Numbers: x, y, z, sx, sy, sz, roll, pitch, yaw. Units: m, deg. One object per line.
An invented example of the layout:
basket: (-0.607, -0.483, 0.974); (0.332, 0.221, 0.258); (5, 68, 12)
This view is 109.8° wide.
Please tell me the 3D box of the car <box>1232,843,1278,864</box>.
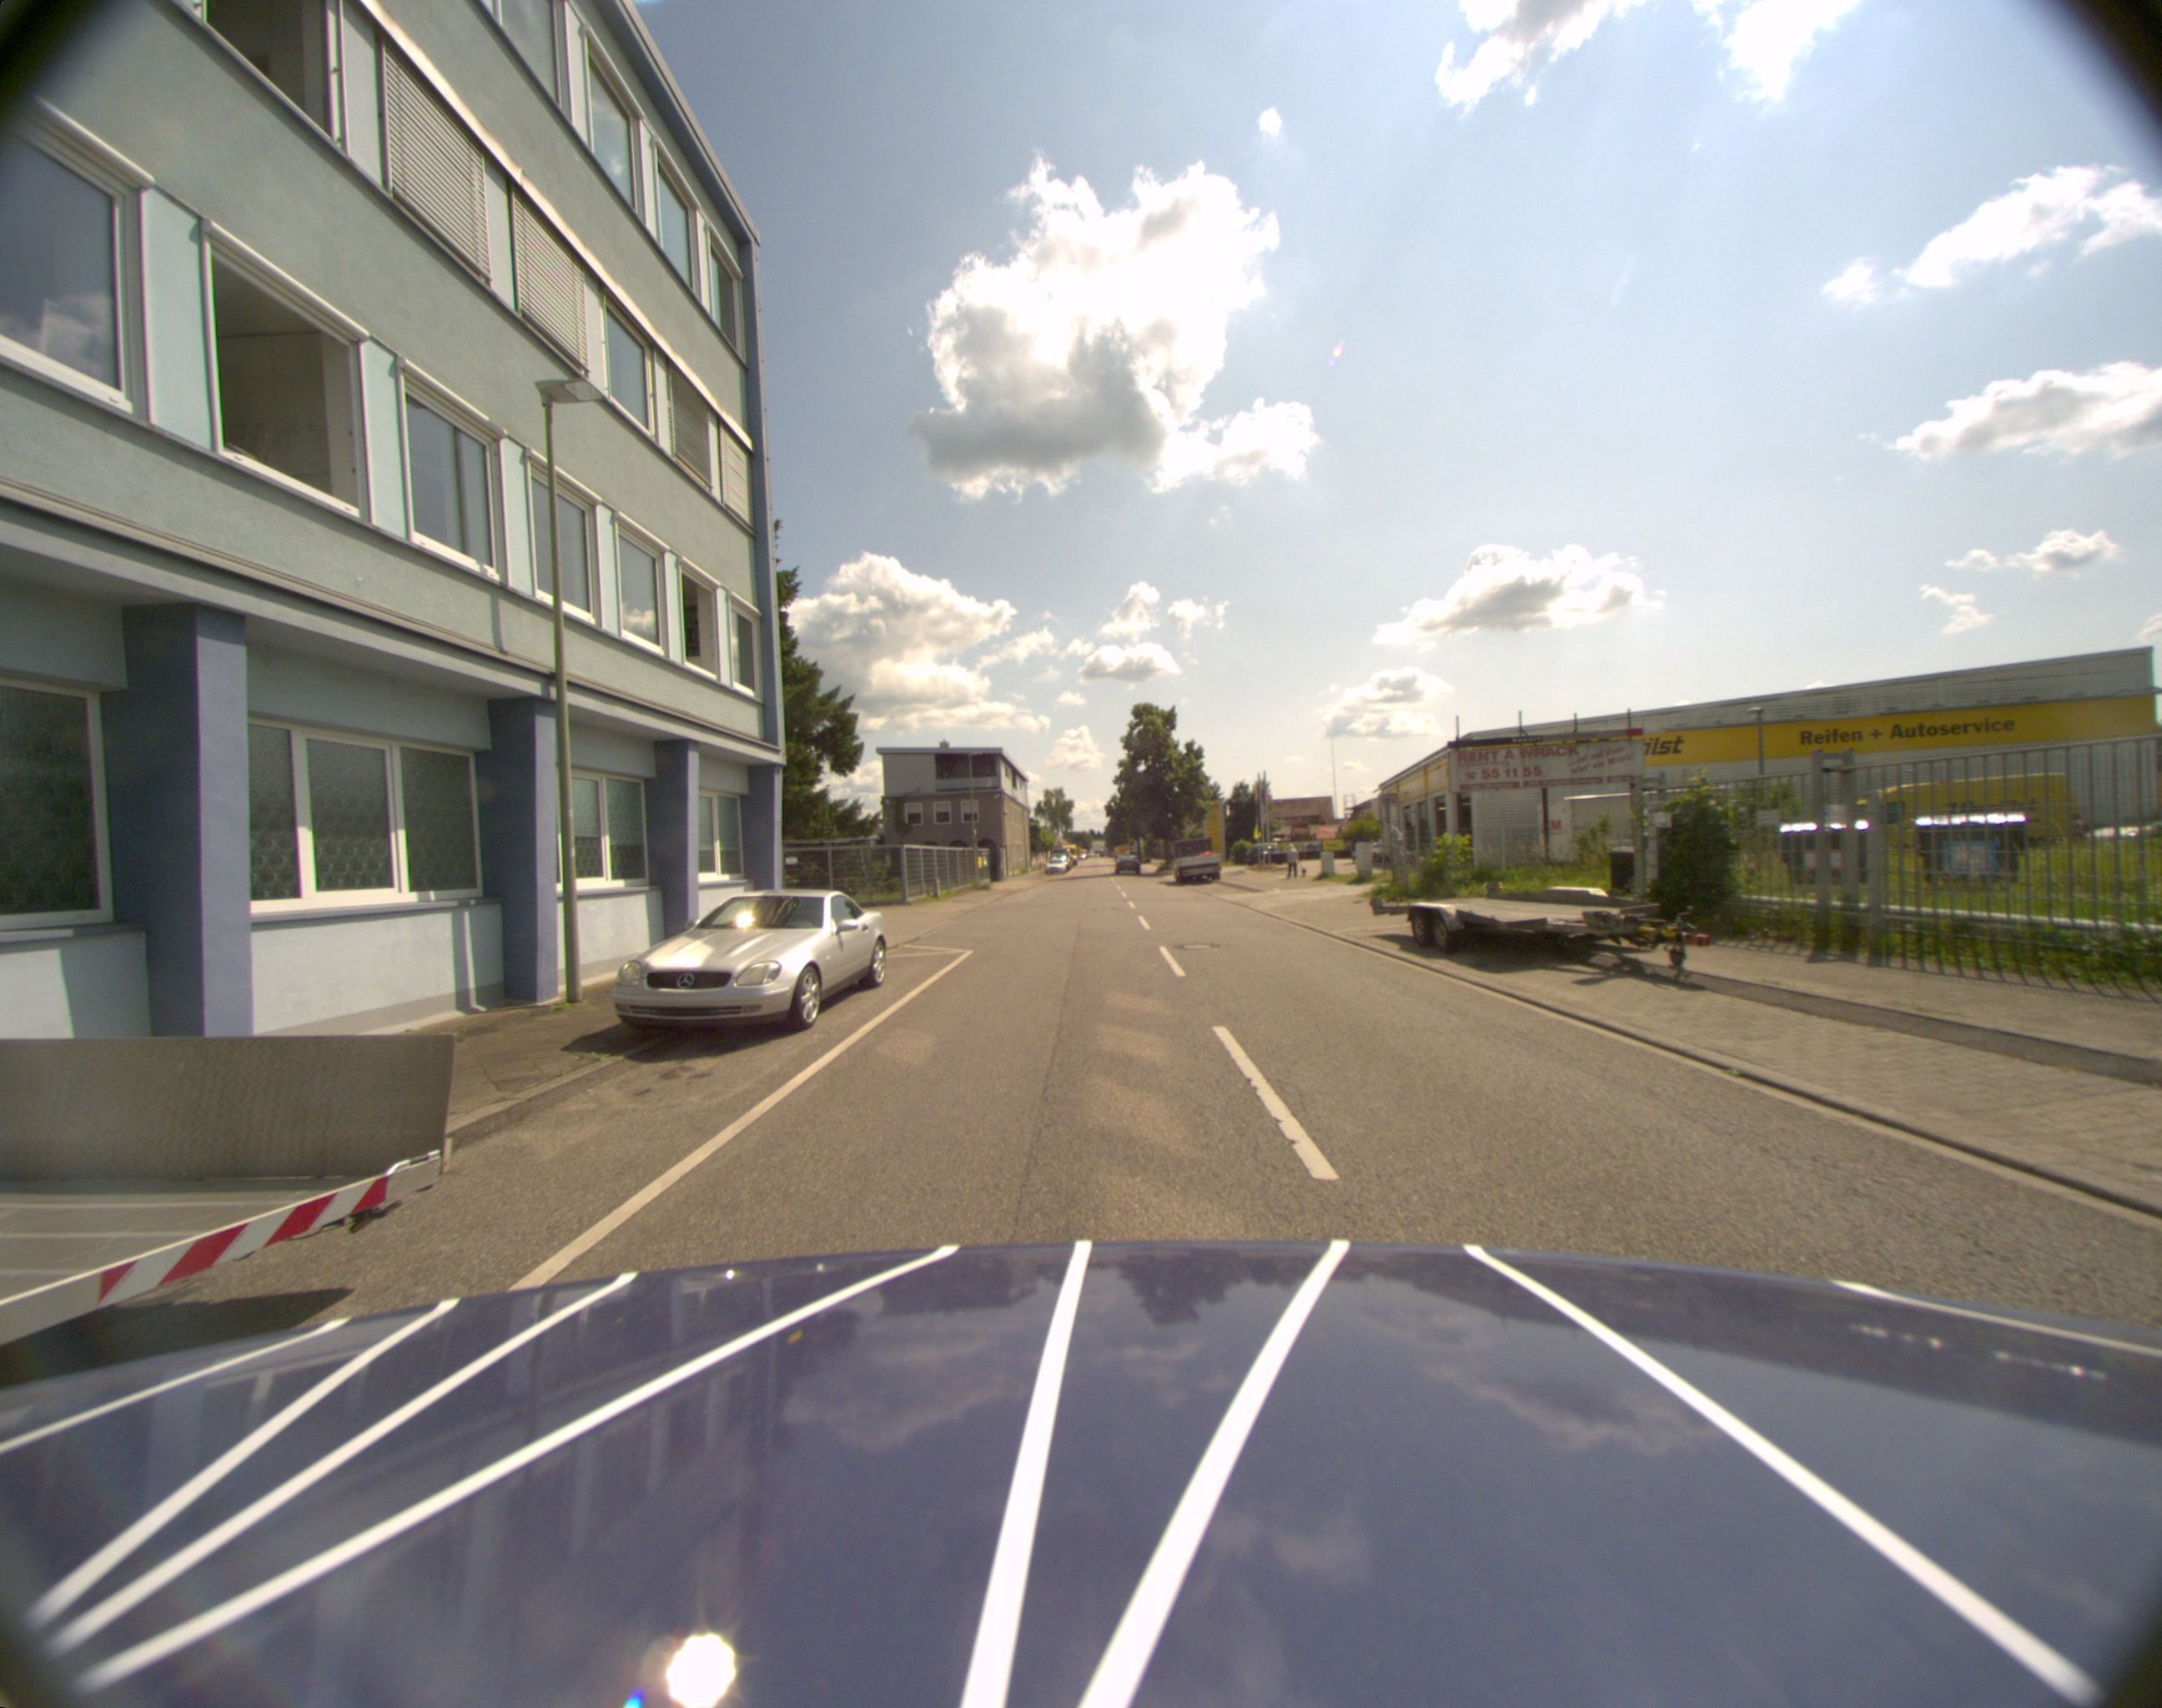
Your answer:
car: (16.276, -0.057, 71.170); (4.093, 1.703, 1.680); (-3, 0, 10)

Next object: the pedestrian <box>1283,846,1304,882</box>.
pedestrian: (9.464, 0.435, 33.852); (0.661, 1.536, 0.918); (-3, 1, 2)

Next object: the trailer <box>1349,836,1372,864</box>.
trailer: (18.764, -0.298, 51.067); (1.268, 1.682, 2.972); (-3, 1, 18)

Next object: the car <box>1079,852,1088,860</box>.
car: (0.601, 0.431, 193.441); (1.998, 2.002, 4.000); (-3, 0, 2)

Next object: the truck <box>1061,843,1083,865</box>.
truck: (-1.106, -0.017, 99.745); (2.402, 2.787, 6.375); (-3, 0, 2)

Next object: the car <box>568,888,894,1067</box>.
car: (-3.420, 1.129, 8.356); (1.651, 1.239, 4.000); (-3, 0, 0)

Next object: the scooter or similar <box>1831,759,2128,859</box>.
scooter or similar: (26.797, -1.266, 22.977); (5.473, 2.540, 2.003); (-3, 0, 21)

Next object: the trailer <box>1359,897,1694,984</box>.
trailer: (6.011, 1.138, 11.085); (2.241, 0.549, 4.444); (-5, 0, 0)

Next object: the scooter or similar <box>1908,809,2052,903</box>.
scooter or similar: (16.095, 0.034, 13.682); (1.172, 1.577, 1.582); (-3, 1, -43)

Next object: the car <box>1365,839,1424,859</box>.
car: (25.849, -0.409, 62.774); (4.276, 1.474, 1.672); (-2, 1, 15)

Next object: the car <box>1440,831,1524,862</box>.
car: (21.158, -0.382, 40.208); (3.577, 1.428, 1.792); (-3, 1, 13)

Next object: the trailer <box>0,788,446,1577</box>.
trailer: (-3.715, 0.864, 0.290); (1.978, 1.959, 5.765); (-3, 0, 0)

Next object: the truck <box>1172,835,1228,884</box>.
truck: (6.278, 0.253, 41.077); (2.133, 2.226, 7.350); (-5, 0, 4)

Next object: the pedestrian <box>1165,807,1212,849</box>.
pedestrian: (5.650, -1.357, 40.356); (1.998, 2.002, 4.000); (-4, 1, 2)

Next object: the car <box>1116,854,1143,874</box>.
car: (3.685, 0.727, 58.732); (1.789, 1.430, 4.309); (1, 0, 0)

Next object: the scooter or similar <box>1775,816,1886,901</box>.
scooter or similar: (14.539, 0.087, 14.745); (1.172, 1.528, 1.446); (-3, 1, -43)

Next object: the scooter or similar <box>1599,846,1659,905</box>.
scooter or similar: (12.392, 0.485, 17.181); (0.884, 1.268, 0.895); (-3, 1, -43)

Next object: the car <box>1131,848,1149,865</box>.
car: (8.272, 0.316, 107.008); (1.997, 2.290, 4.003); (-3, 0, 11)

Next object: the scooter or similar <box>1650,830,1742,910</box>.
scooter or similar: (13.023, 0.325, 16.085); (1.172, 1.577, 1.316); (-3, 1, -43)

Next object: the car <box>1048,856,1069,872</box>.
car: (-2.010, 0.869, 67.424); (1.657, 1.324, 4.000); (-3, 0, 0)

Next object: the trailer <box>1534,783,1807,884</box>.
trailer: (19.186, -0.609, 25.185); (6.527, 2.835, 2.761); (-3, 1, 12)

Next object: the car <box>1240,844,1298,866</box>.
car: (14.416, 0.077, 58.327); (3.847, 1.406, 1.857); (-4, 1, -22)

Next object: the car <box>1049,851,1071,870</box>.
car: (-1.985, 0.627, 74.203); (1.999, 1.678, 3.999); (-3, 0, -1)
